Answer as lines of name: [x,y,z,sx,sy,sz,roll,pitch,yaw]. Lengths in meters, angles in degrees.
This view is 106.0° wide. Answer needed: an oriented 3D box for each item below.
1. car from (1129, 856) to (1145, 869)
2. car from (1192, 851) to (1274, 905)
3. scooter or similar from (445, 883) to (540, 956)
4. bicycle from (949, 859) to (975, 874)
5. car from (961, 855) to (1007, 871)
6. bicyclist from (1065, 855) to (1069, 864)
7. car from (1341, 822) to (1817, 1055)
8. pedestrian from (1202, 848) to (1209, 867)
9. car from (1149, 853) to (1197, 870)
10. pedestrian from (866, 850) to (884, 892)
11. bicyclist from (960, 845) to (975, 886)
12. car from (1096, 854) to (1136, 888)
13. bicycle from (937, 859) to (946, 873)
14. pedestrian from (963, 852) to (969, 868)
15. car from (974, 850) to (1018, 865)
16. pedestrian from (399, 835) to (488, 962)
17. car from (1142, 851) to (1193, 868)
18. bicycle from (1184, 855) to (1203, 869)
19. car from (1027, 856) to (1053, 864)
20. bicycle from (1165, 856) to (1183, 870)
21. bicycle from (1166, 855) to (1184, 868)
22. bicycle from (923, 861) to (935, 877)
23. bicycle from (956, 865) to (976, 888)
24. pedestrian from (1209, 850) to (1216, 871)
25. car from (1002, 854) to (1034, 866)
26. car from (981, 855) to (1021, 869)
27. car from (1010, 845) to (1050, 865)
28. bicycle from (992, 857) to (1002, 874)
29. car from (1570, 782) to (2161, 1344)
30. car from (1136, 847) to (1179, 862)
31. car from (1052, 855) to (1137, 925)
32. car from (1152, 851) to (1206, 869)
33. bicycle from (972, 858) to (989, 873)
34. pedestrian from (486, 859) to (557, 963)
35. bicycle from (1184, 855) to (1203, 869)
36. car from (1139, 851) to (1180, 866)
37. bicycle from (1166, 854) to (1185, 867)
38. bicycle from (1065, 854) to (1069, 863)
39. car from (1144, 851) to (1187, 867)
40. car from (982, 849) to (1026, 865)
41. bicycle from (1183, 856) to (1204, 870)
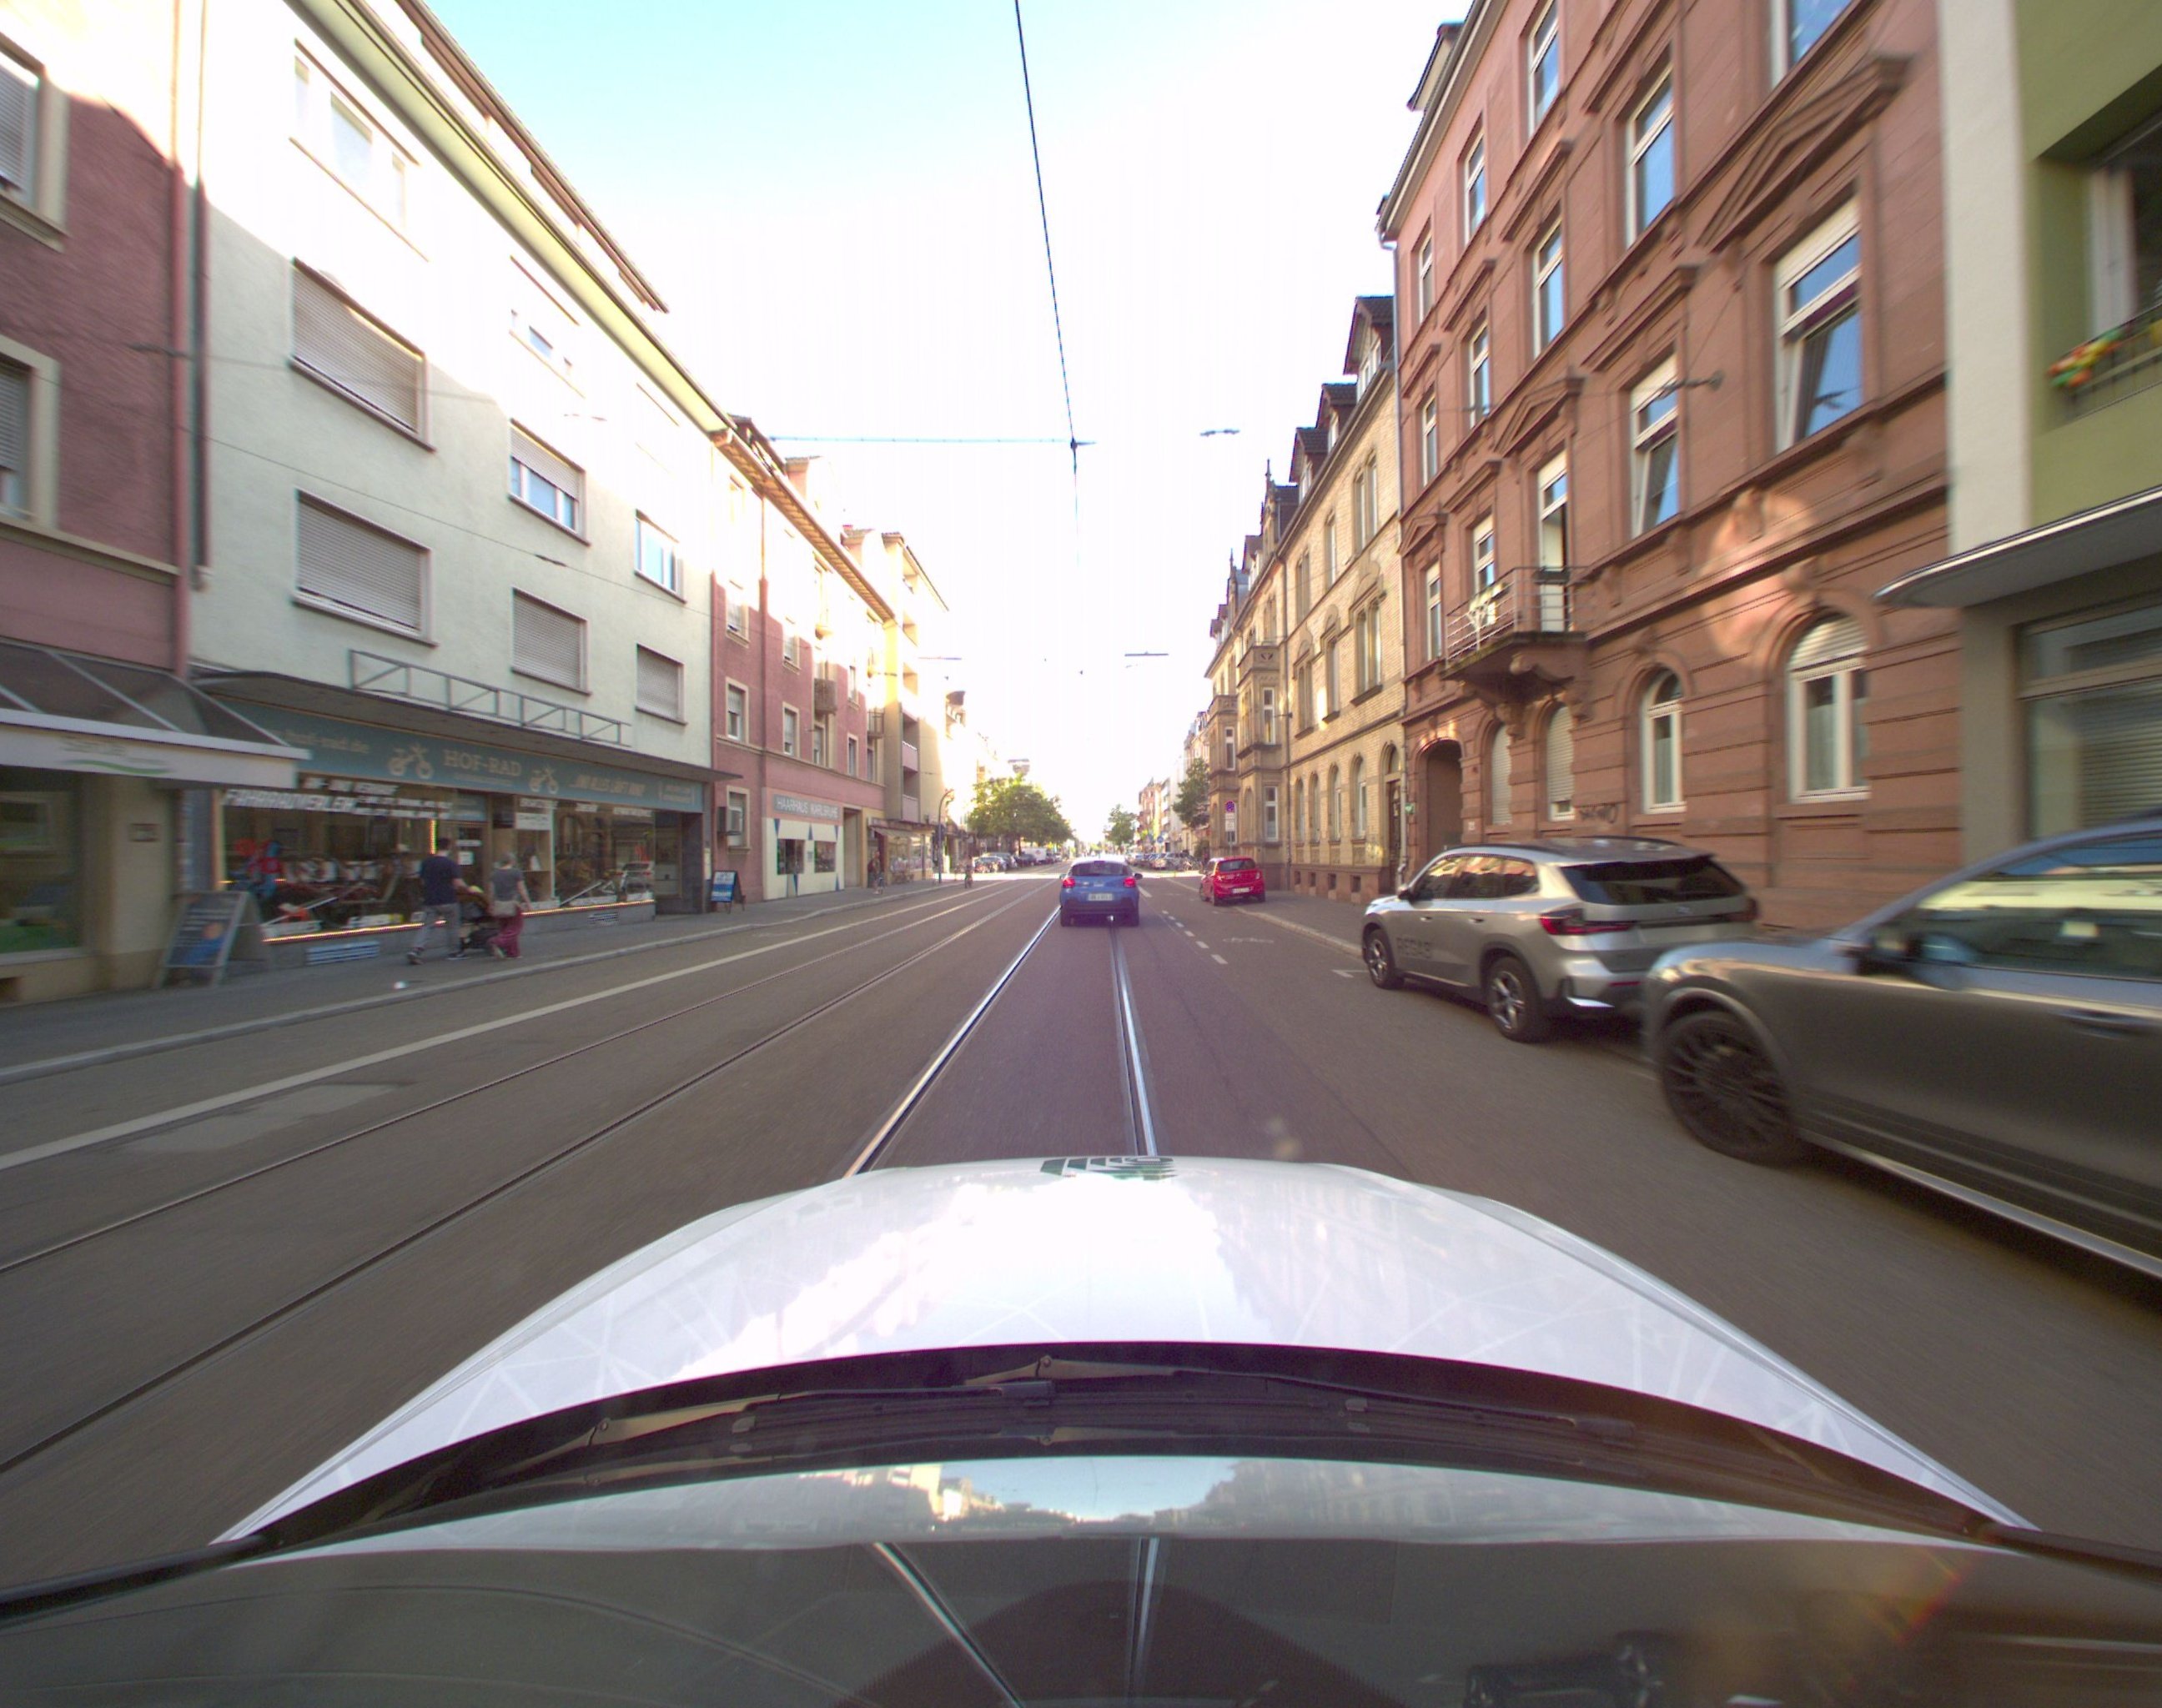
car: [6.996,1.096,102.679,1.866,1.596,4.721,0,0,2]
car: [4.846,0.725,26.593,1.859,1.483,4.402,-4,0,1]
scooter or similar: [-9.265,1.010,12.860,0.659,1.061,1.105,0,0,2]
bicycle: [-9.808,1.045,66.965,2.405,1.109,0.688,2,3,41]
car: [-8.761,0.834,73.571,3.804,1.400,1.737,0,-1,-32]
bicyclist: [-2.726,1.018,158.400,0.632,1.681,0.727,0,-1,1]
car: [4.270,0.607,8.009,1.861,1.646,4.396,0,0,-3]
pedestrian: [10.983,0.334,71.824,0.516,1.648,0.864,0,-1,2]
car: [8.444,0.643,75.116,4.004,1.536,1.904,0,-1,-23]
pedestrian: [-8.309,0.681,32.811,0.561,1.686,0.616,0,-1,0]
bicyclist: [-5.714,0.576,40.911,0.609,2.014,0.734,0,-1,2]
car: [1.702,0.792,39.769,1.866,1.596,4.002,0,0,2]
bicycle: [-11.536,0.974,67.498,0.404,1.109,1.825,-1,-1,-20]
pedestrian: [-12.448,0.644,88.023,0.567,1.652,0.641,0,-1,1]
car: [-8.540,0.362,81.826,4.032,1.449,1.682,0,-1,-31]
pedestrian: [-9.278,0.623,11.876,0.623,1.789,0.821,0,-1,1]
car: [8.222,0.482,77.615,4.454,1.596,2.072,0,-1,-23]
bicycle: [9.136,0.616,66.136,1.547,1.127,0.552,0,-1,7]
car: [-6.336,0.978,126.151,3.815,1.265,1.504,0,-1,-25]
bicycle: [7.601,0.762,66.549,1.394,1.127,0.551,0,-1,-3]
bicycle: [7.879,0.604,68.232,1.547,1.079,0.308,0,-1,7]
bicycle: [-11.665,1.160,62.537,0.680,1.109,2.432,0,2,-5]
bicycle: [-5.728,1.114,40.749,0.600,1.096,2.045,-3,-1,2]
pedestrian: [11.602,0.580,71.894,0.516,1.778,0.864,0,-1,2]
car: [-8.496,0.818,109.407,3.994,1.489,1.797,0,-1,-15]
car: [-8.352,0.813,84.922,3.850,1.430,1.752,0,-1,-25]
car: [-7.222,0.180,115.457,5.402,2.749,1.789,0,-1,-29]
bicycle: [-7.001,0.921,67.644,0.680,1.319,2.434,0,2,-2]
car: [4.060,0.541,2.708,1.986,1.615,4.787,-4,0,1]
car: [8.462,0.040,90.260,4.322,1.596,1.967,0,-1,-23]
car: [0.327,0.760,18.643,1.756,1.441,3.557,0,0,1]
car: [8.651,0.525,71.879,4.370,1.596,1.839,0,-1,-24]
bicycle: [-8.345,0.975,67.565,0.686,1.123,1.870,-1,2,-29]
pedestrian: [-8.528,0.846,12.422,0.633,1.548,0.624,0,-1,1]
bicycle: [9.210,0.685,66.709,1.547,1.127,0.529,0,-1,7]
car: [8.465,0.523,87.920,4.004,1.596,2.071,0,-1,-23]
bicycle: [7.931,0.566,68.569,1.551,1.127,0.295,0,-1,7]
bicycle: [-2.751,0.897,158.379,0.678,1.678,2.097,0,0,2]
car: [8.808,0.503,84.868,4.004,1.596,1.944,0,-1,-23]
car: [-8.463,0.320,89.680,4.381,1.783,1.976,0,-1,-31]
bicycle: [9.312,0.741,67.381,1.665,1.127,0.552,0,-1,7]
